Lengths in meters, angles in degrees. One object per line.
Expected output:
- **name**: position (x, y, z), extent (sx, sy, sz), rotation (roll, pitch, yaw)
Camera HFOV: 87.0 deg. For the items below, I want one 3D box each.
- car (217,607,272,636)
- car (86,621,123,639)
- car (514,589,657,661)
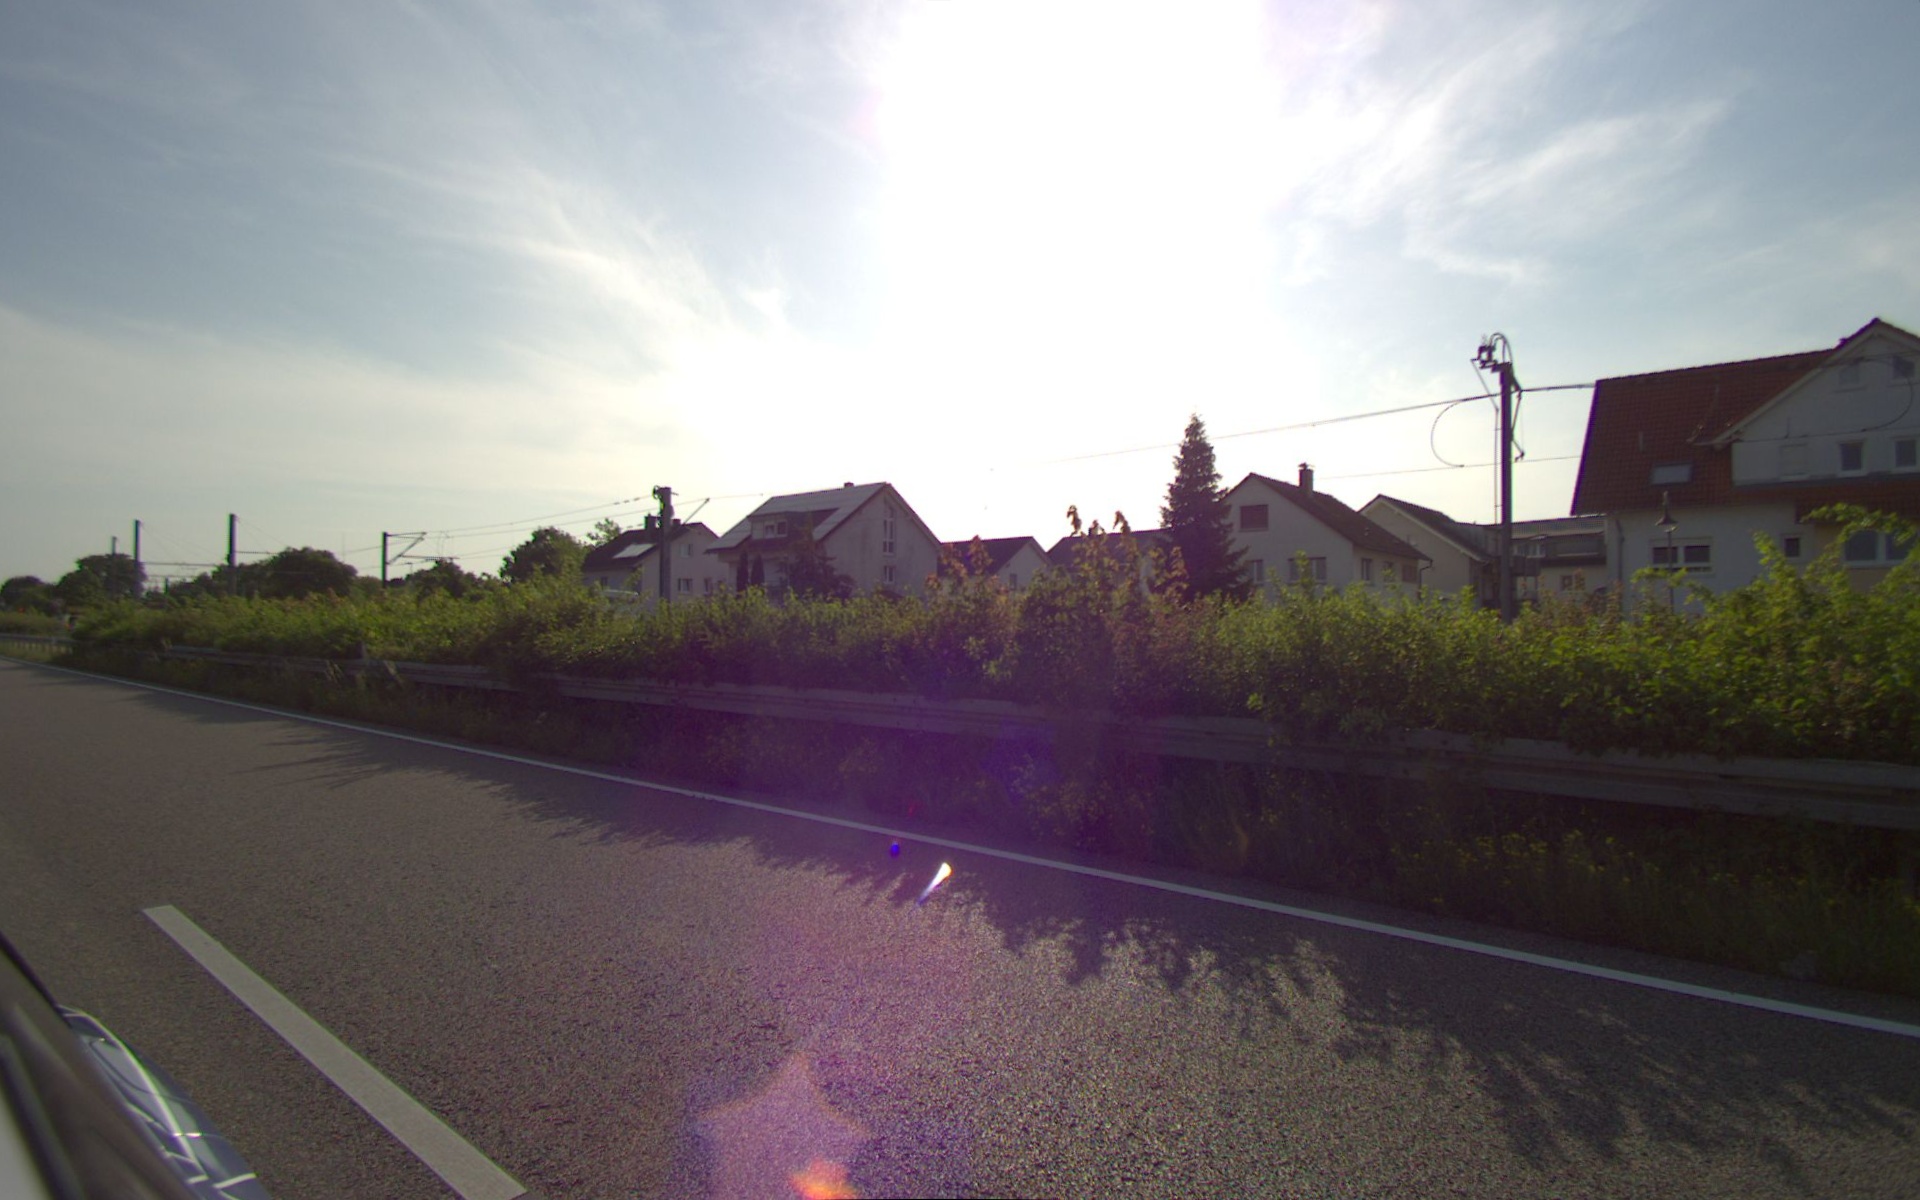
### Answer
- **car**: position (-45.901, 1.358, 64.906), extent (3.998, 1.763, 1.973), rotation (-1, 0, 41)
- **car**: position (-70.412, 2.444, 83.284), extent (3.620, 1.377, 1.711), rotation (-1, -4, 41)
- **car**: position (-11.462, 0.739, 30.794), extent (4.869, 2.029, 1.973), rotation (-1, 0, 41)
